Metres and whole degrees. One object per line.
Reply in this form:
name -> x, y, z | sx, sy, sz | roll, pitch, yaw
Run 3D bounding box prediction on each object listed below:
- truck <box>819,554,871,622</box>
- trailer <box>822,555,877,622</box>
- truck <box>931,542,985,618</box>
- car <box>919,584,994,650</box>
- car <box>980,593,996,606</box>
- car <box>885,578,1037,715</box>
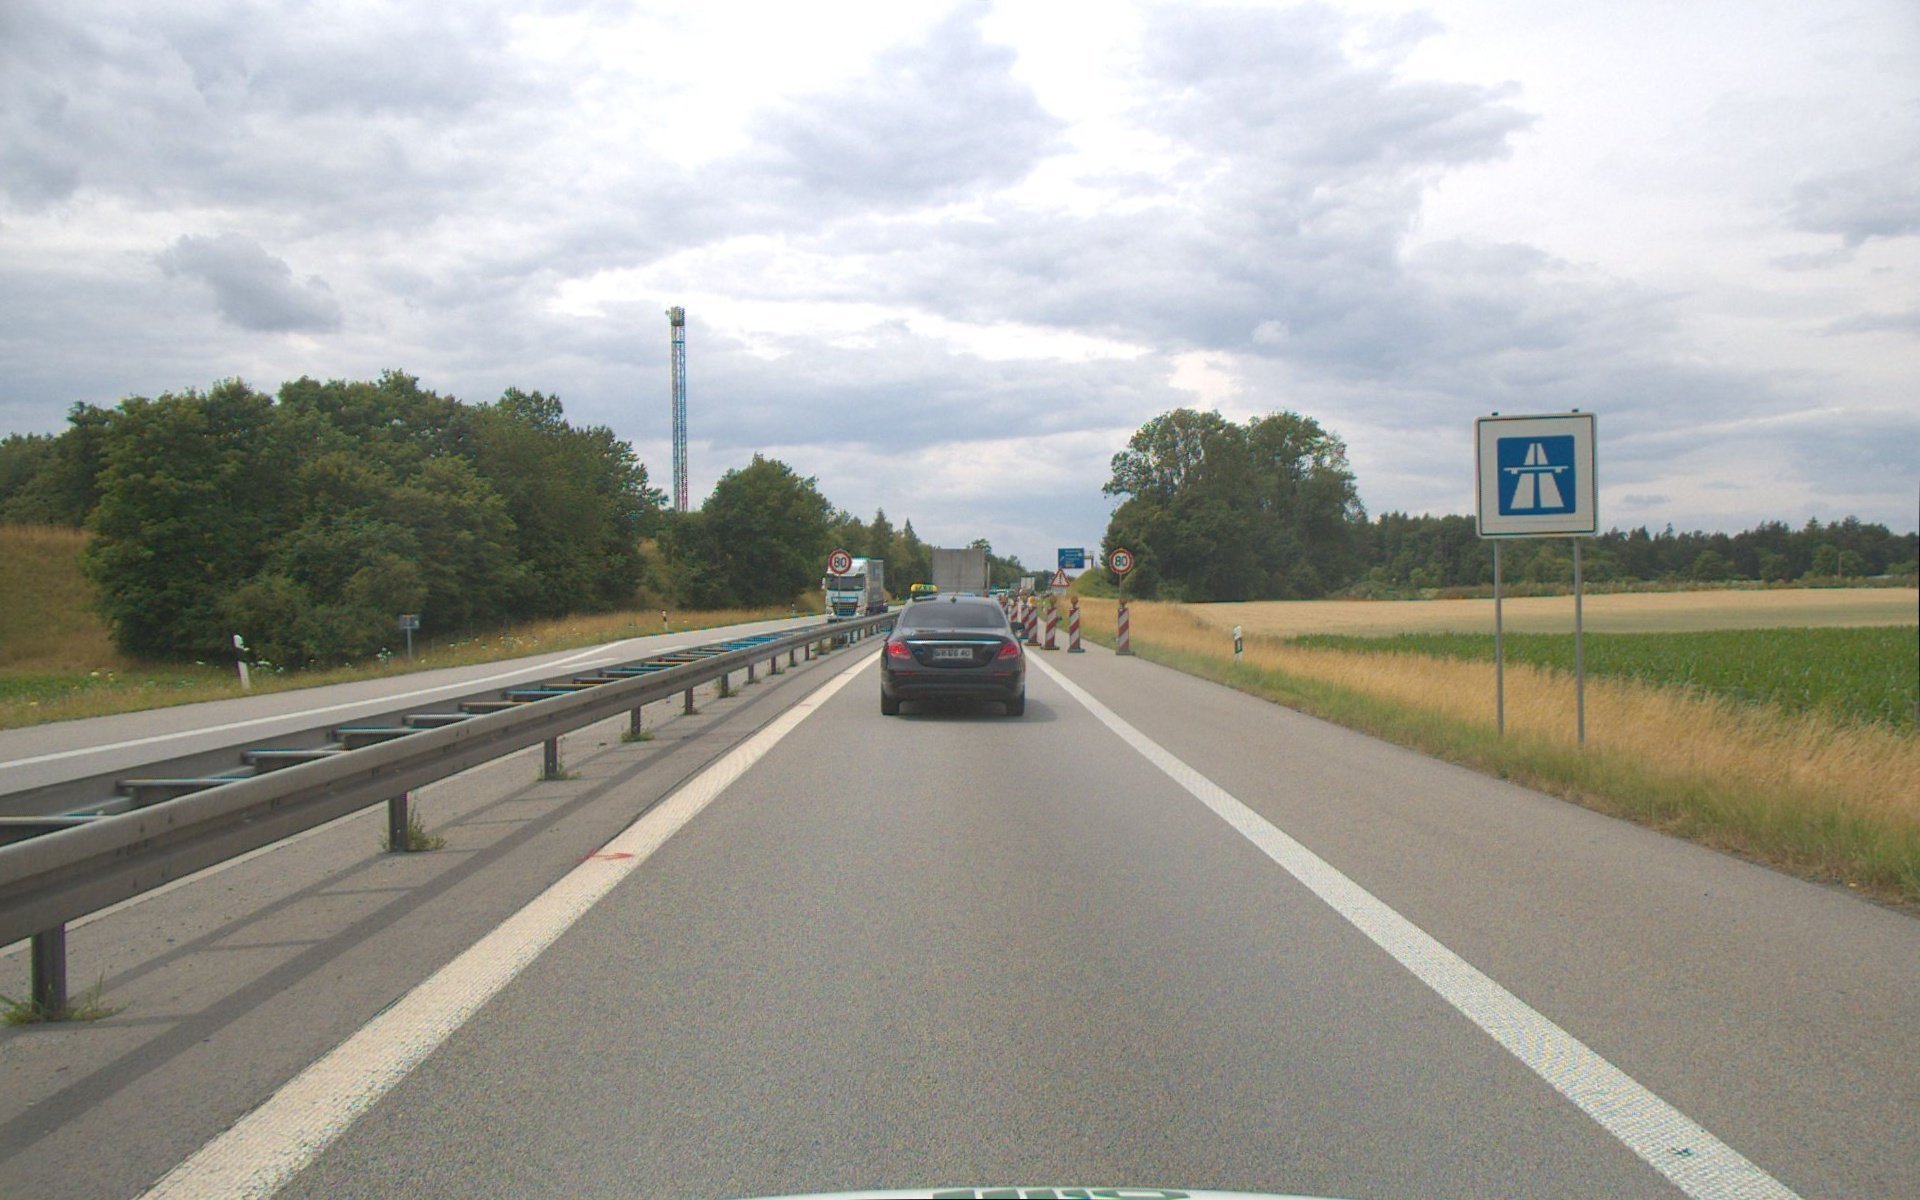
truck -> -7.425, -0.720, 107.584 | 2.741, 4.214, 7.228 | 1, -1, 0
trailer -> -7.420, -0.702, 113.082 | 2.741, 4.246, 13.563 | 1, 0, 0
truck -> -0.113, -0.950, 81.039 | 2.534, 3.586, 4.812 | 1, -1, 0
car -> -0.154, 0.549, 54.429 | 1.956, 2.049, 3.993 | 1, -1, -8
car -> 3.287, -0.039, 194.843 | 1.616, 1.420, 3.703 | 1, 0, -3
car -> -0.023, 0.558, 21.385 | 1.759, 1.587, 3.999 | 1, 0, -1
